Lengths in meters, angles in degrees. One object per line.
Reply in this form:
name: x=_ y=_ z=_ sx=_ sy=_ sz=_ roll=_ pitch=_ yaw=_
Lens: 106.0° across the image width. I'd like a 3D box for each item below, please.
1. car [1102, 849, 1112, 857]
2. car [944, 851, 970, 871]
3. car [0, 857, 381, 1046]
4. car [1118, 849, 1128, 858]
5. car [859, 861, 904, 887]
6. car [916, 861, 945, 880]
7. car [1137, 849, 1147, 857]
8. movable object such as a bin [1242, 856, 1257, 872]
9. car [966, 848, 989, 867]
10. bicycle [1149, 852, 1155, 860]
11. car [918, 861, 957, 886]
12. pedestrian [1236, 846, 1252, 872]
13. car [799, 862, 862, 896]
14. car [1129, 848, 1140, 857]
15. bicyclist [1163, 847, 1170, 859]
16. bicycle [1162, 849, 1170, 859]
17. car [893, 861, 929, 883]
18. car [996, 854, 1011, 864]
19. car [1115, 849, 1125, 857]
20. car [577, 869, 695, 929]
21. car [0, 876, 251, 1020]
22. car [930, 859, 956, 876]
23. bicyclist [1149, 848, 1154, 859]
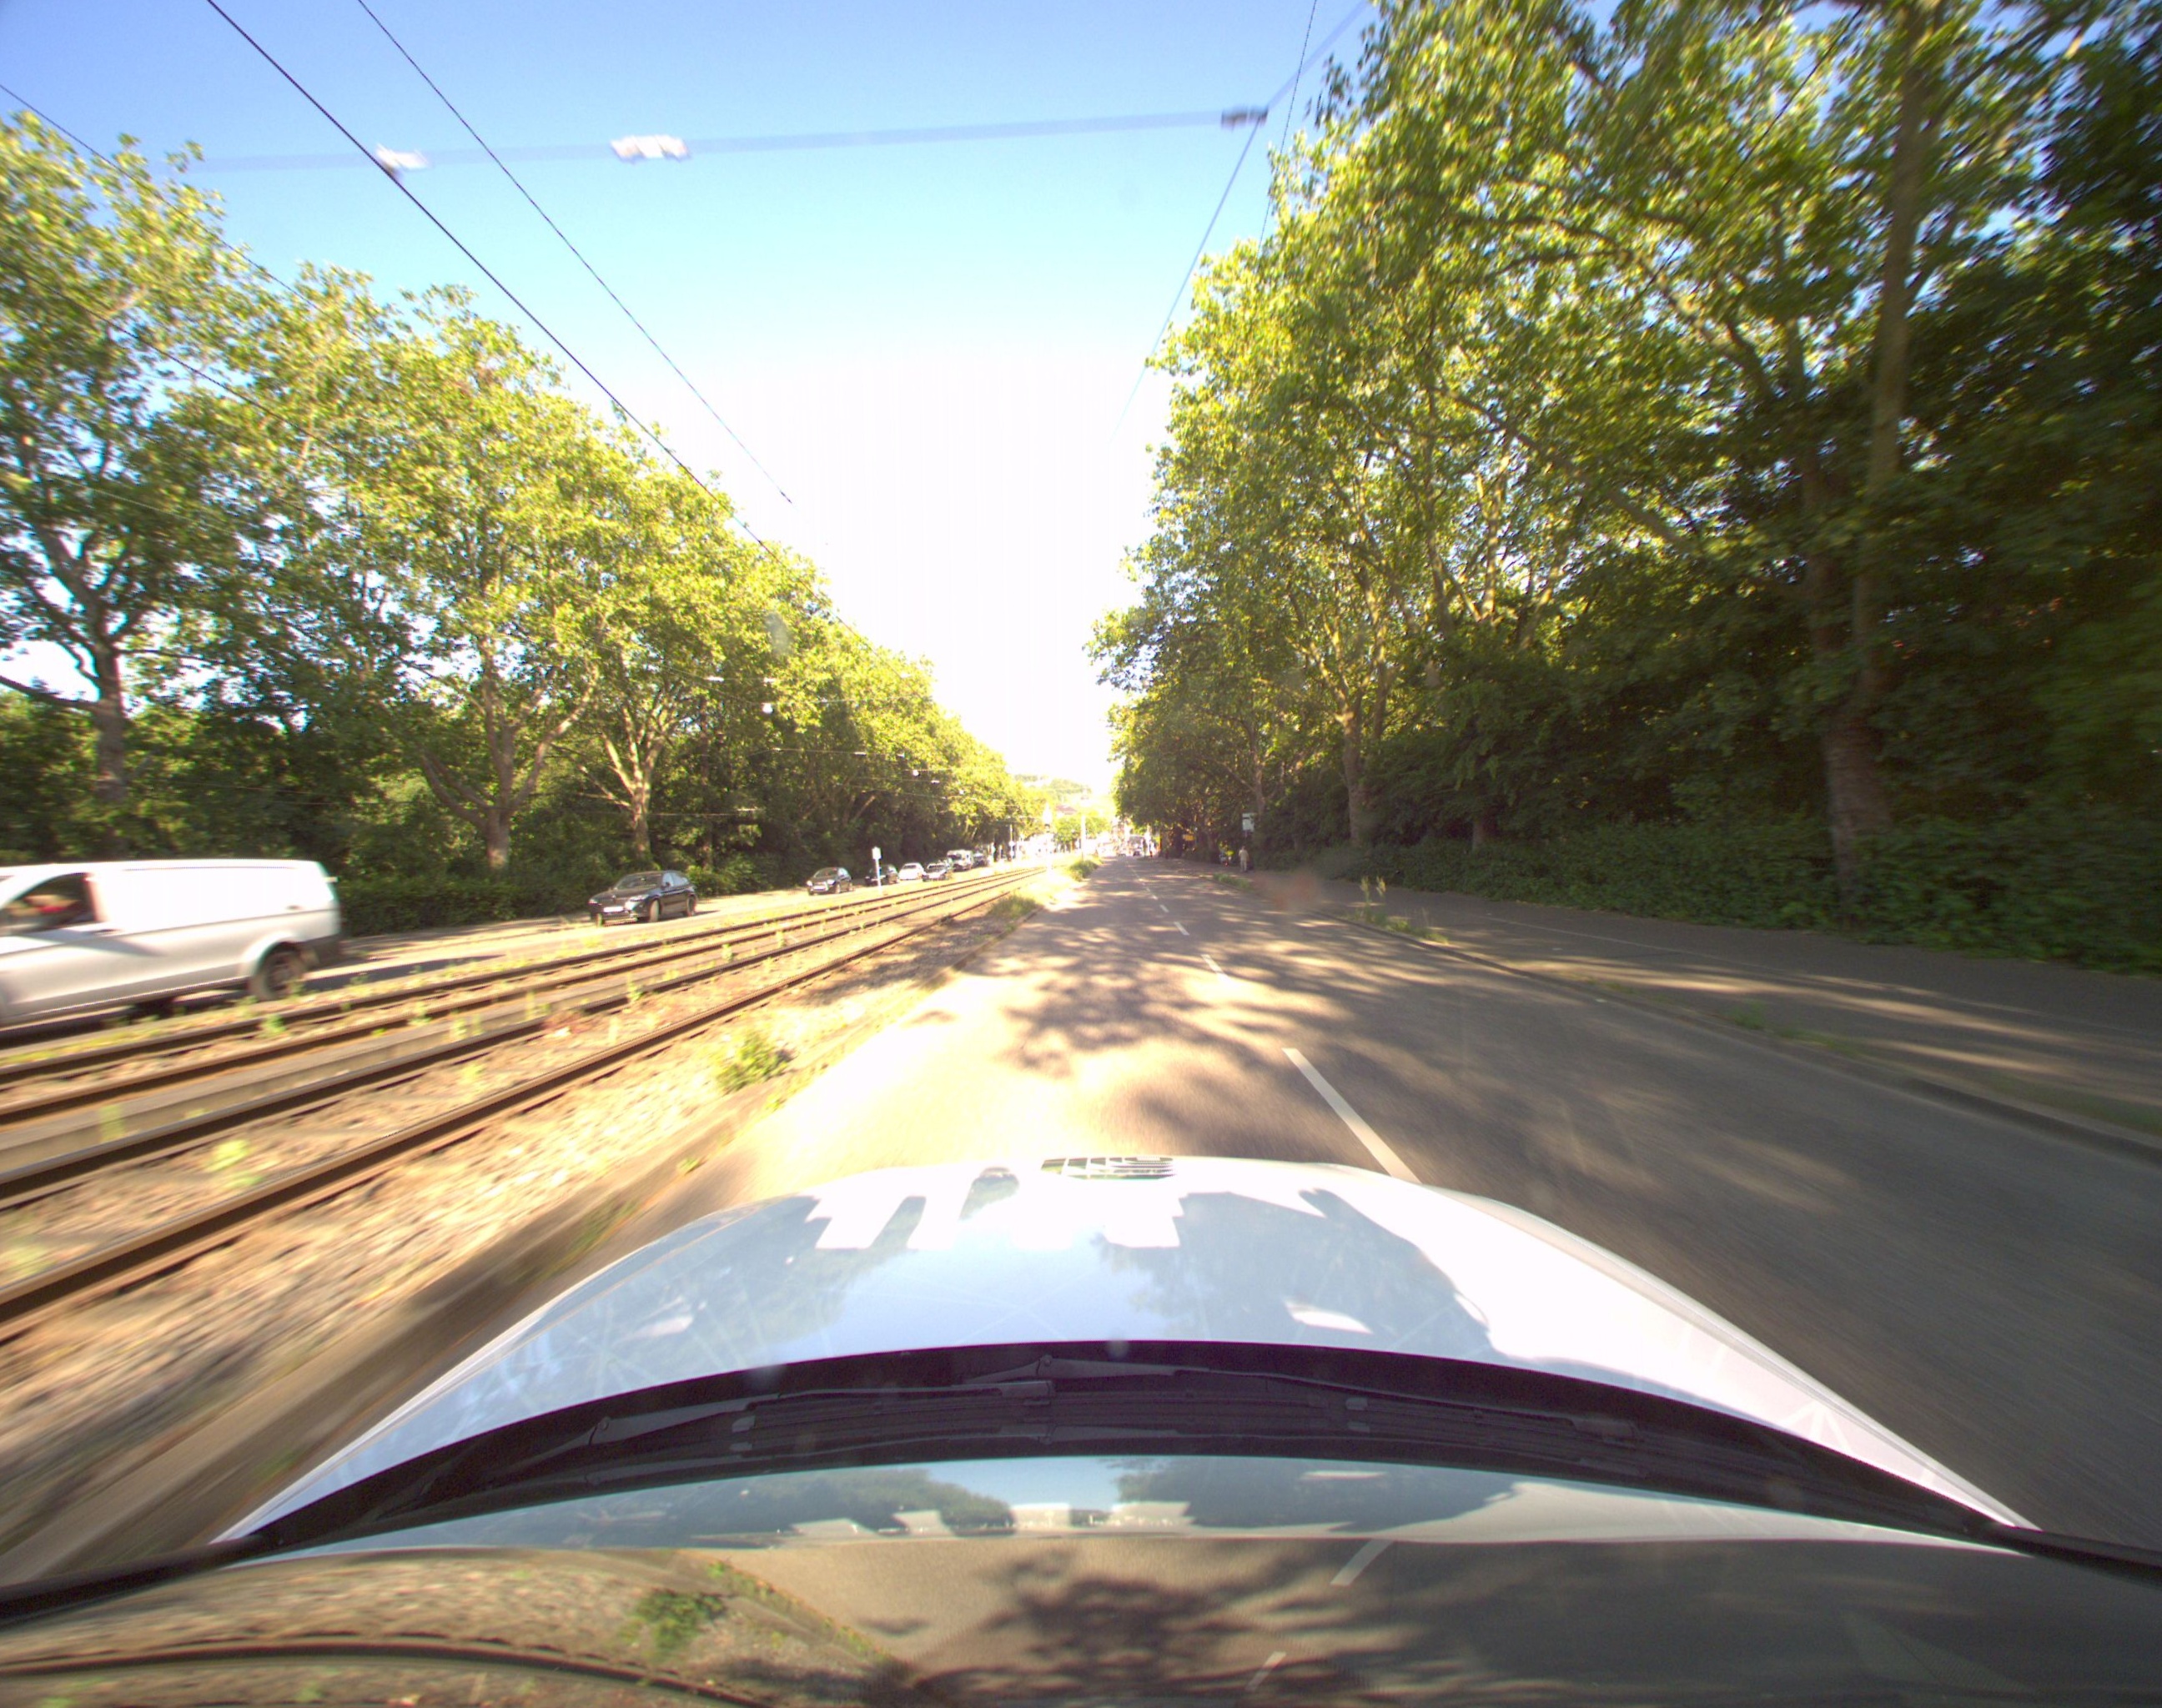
car: x=6.914 y=-0.271 z=215.453 sx=2.385 sy=1.999 sz=5.308 roll=-2 pitch=0 yaw=2
car: x=-14.605 y=0.786 z=96.290 sx=1.987 sy=2.164 sz=5.814 roll=-2 pitch=0 yaw=0
car: x=-11.559 y=1.028 z=9.531 sx=1.987 sy=1.844 sz=5.301 roll=-4 pitch=0 yaw=0
car: x=10.489 y=-0.118 z=205.730 sx=2.385 sy=1.999 sz=5.308 roll=-2 pitch=0 yaw=2
car: x=-14.562 y=1.427 z=59.696 sx=1.987 sy=1.697 sz=4.744 roll=-2 pitch=0 yaw=0
car: x=-15.167 y=1.627 z=82.340 sx=1.987 sy=1.697 sz=4.744 roll=-2 pitch=0 yaw=0
car: x=15.710 y=-0.267 z=210.266 sx=2.385 sy=1.999 sz=5.308 roll=-2 pitch=0 yaw=2
movable object such as a bin: x=10.262 y=0.627 z=49.662 sx=0.800 sy=0.947 sz=0.657 roll=-2 pitch=0 yaw=5
car: x=-15.100 y=0.500 z=119.174 sx=2.385 sy=2.523 sz=5.902 roll=-2 pitch=0 yaw=2
bicycle: x=12.269 y=0.386 z=141.590 sx=0.883 sy=1.321 sz=2.641 roll=-2 pitch=-1 yaw=2
car: x=-10.777 y=1.409 z=61.602 sx=1.987 sy=1.697 sz=4.744 roll=-2 pitch=0 yaw=0
pedestrian: x=10.096 y=0.317 z=50.428 sx=0.800 sy=1.546 sz=0.815 roll=-2 pitch=0 yaw=5
car: x=-14.152 y=1.369 z=46.323 sx=1.987 sy=1.697 sz=4.744 roll=-2 pitch=0 yaw=0
car: x=13.216 y=-0.346 z=201.055 sx=2.385 sy=1.999 sz=5.308 roll=-2 pitch=0 yaw=2
bicyclist: x=11.971 y=-0.206 z=114.301 sx=0.883 sy=1.638 sz=1.165 roll=-2 pitch=0 yaw=2
bicycle: x=11.978 y=0.039 z=114.201 sx=0.883 sy=1.321 sz=2.641 roll=-2 pitch=0 yaw=2
car: x=-14.781 y=1.544 z=71.034 sx=1.987 sy=1.697 sz=4.744 roll=-2 pitch=0 yaw=0
car: x=-13.681 y=0.849 z=143.974 sx=1.987 sy=1.697 sz=4.744 roll=-2 pitch=0 yaw=0
car: x=10.270 y=-0.264 z=213.398 sx=2.385 sy=1.999 sz=5.308 roll=-2 pitch=0 yaw=2
car: x=-14.424 y=1.398 z=26.649 sx=1.738 sy=1.636 sz=3.995 roll=-3 pitch=0 yaw=-3
car: x=-14.911 y=1.344 z=11.454 sx=1.737 sy=1.743 sz=4.512 roll=-5 pitch=1 yaw=-1
car: x=-15.081 y=1.415 z=89.249 sx=1.987 sy=1.697 sz=4.744 roll=-2 pitch=0 yaw=0
bicyclist: x=12.238 y=-0.110 z=141.516 sx=0.883 sy=1.774 sz=1.223 roll=-2 pitch=0 yaw=2
